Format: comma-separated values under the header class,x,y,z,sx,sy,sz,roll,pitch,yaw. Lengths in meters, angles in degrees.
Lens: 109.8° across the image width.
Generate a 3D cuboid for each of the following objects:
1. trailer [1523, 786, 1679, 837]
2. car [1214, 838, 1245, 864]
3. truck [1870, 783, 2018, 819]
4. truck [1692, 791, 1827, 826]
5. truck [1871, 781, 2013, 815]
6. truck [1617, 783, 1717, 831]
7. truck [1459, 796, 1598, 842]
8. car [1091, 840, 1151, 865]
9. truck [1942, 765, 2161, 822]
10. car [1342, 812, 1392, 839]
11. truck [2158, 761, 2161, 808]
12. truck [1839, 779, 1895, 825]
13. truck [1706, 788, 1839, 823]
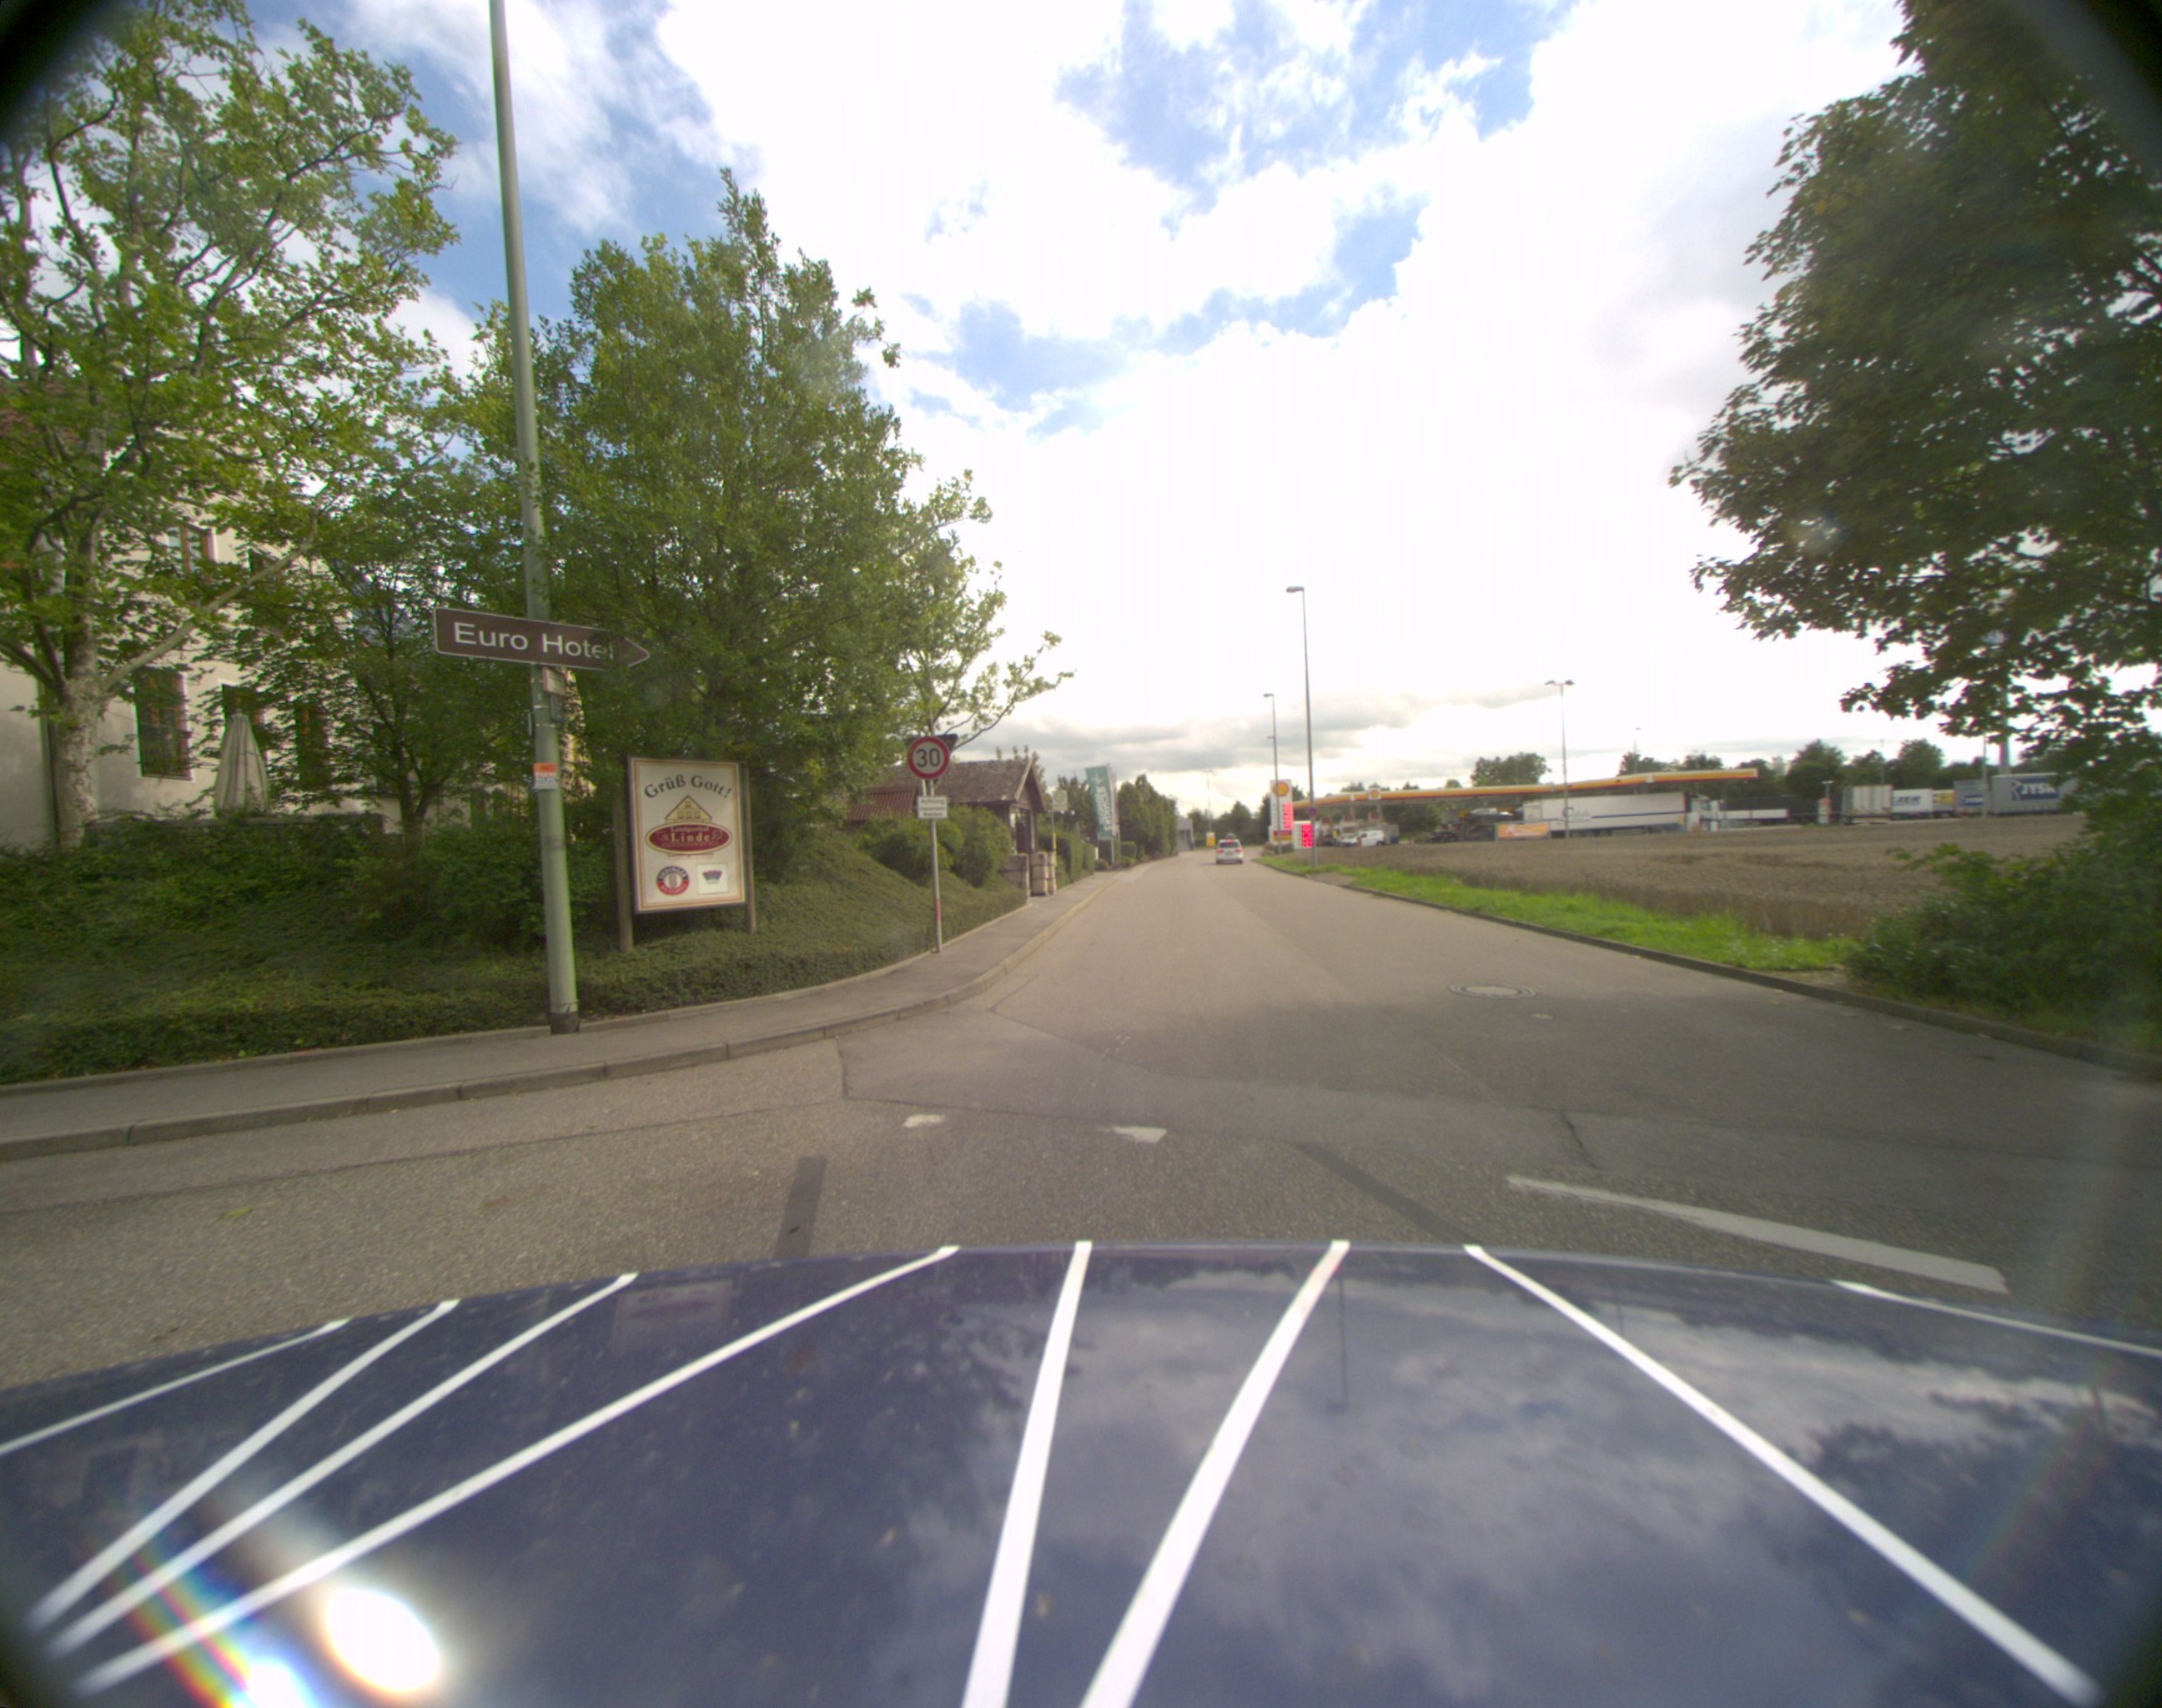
class,x,y,z,sx,sy,sz,roll,pitch,yaw
trailer,47.899,-3.901,70.134,12.841,4.002,2.711,-3,1,-3
car,10.156,-0.261,52.145,1.702,1.656,4.033,-1,1,6
truck,114.259,-6.954,101.093,12.772,3.872,2.829,-1,3,42
truck,86.509,-5.742,97.305,12.772,3.872,2.829,-1,3,42
truck,118.631,-7.712,105.171,12.772,3.872,2.829,-1,3,42
truck,54.280,-4.306,70.482,7.165,4.002,2.711,-3,1,-3
truck,44.112,-3.458,74.924,13.259,3.902,2.749,-3,2,-10
car,3.136,-0.141,59.681,4.355,1.707,1.658,-3,1,15
truck,79.092,-4.884,61.611,15.450,3.872,2.823,-3,2,0
car,32.074,-3.194,85.160,5.817,2.771,2.219,-3,1,-34
truck,97.738,-6.154,62.469,15.454,3.872,2.822,-3,2,-3
truck,78.171,-5.167,75.777,2.955,4.090,14.774,-1,3,42
truck,92.028,-6.393,101.455,12.976,3.872,2.829,-1,3,43
